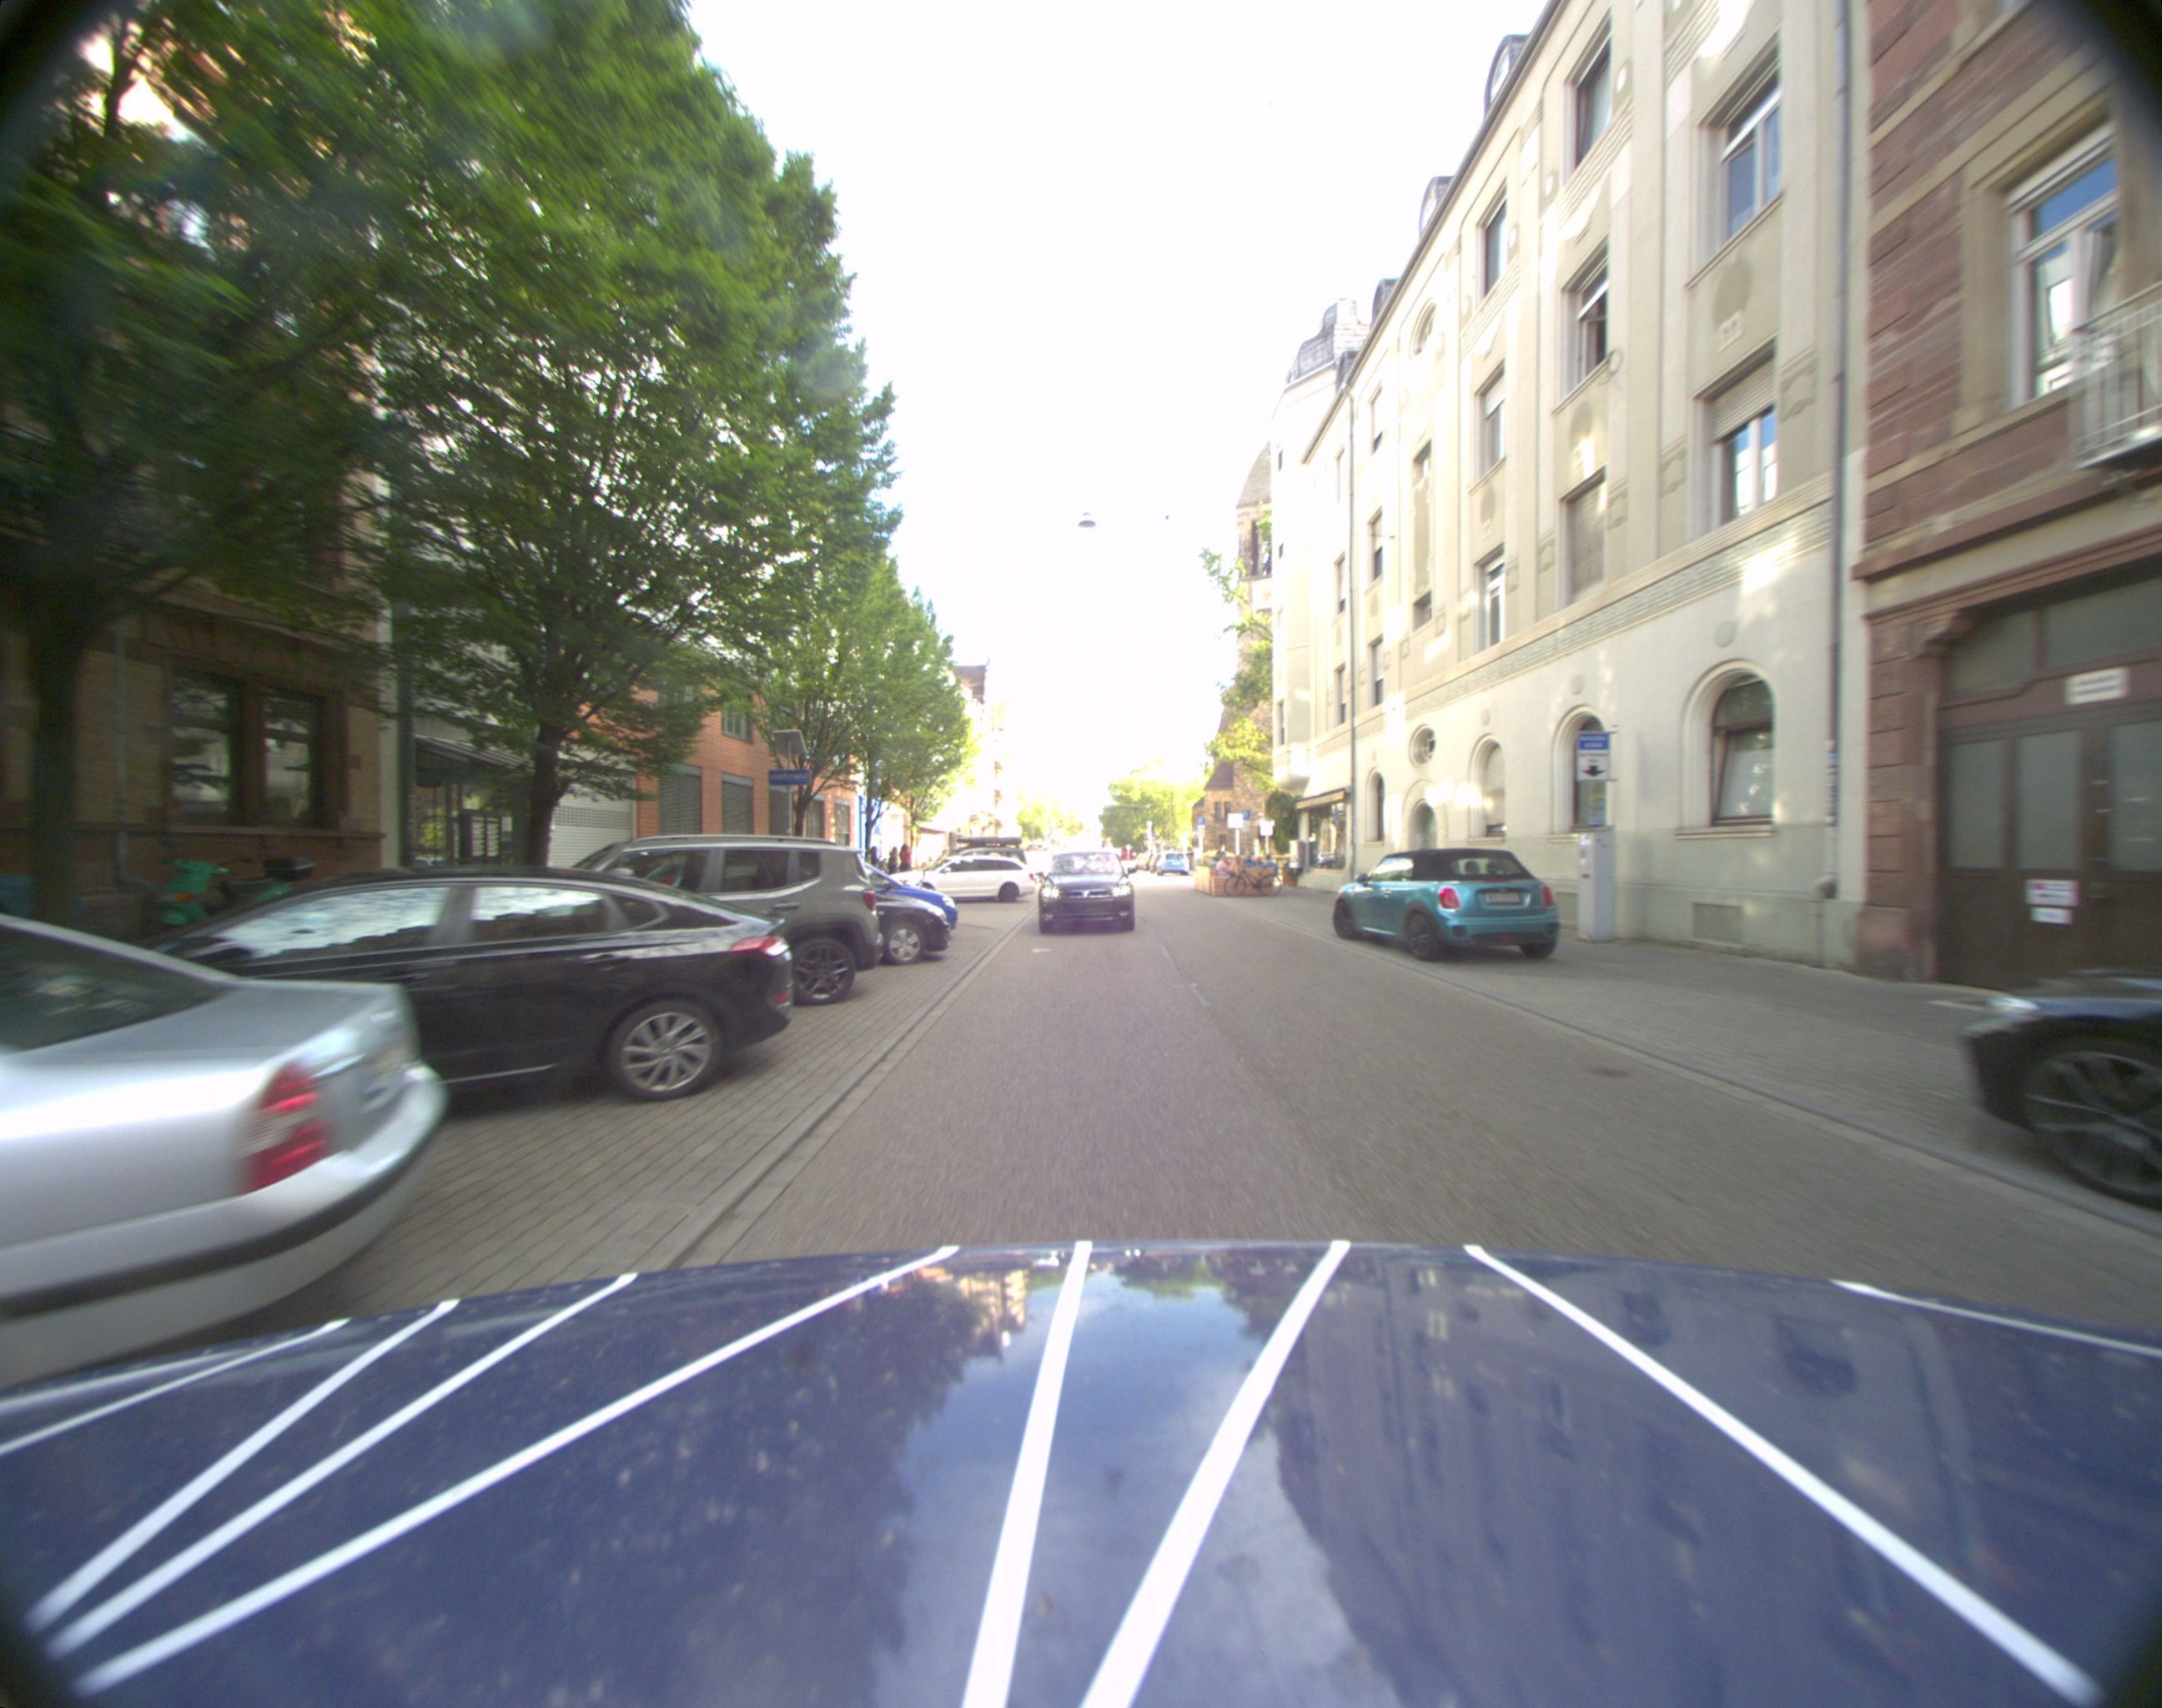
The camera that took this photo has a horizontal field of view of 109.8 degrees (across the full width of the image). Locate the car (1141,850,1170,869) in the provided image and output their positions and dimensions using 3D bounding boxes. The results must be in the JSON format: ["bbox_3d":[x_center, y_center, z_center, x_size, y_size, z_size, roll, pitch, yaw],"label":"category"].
[{"bbox_3d":[5.849,0.386,59.830,1.911,1.412,4.000,-2,1,1],"label":"car"}]

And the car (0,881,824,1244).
[{"bbox_3d":[-3.956,0.928,4.665,4.145,1.409,1.864,0,0,-35],"label":"car"}]

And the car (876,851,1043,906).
[{"bbox_3d":[-3.775,0.750,23.879,4.816,1.535,1.866,1,1,-31],"label":"car"}]

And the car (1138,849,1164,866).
[{"bbox_3d":[6.135,0.252,66.817,1.911,1.412,4.000,-2,1,1],"label":"car"}]

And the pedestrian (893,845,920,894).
[{"bbox_3d":[-6.395,0.553,27.944,0.754,1.729,0.952,3,1,-4],"label":"pedestrian"}]

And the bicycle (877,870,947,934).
[{"bbox_3d":[-3.544,0.969,15.863,0.703,1.205,1.744,-2,2,-39],"label":"bicycle"}]

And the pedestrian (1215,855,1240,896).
[{"bbox_3d":[4.921,0.716,25.582,0.738,1.341,0.644,-2,1,3],"label":"pedestrian"}]

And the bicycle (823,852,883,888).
[{"bbox_3d":[-8.150,0.565,27.183,1.896,1.198,0.618,3,1,-2],"label":"bicycle"}]

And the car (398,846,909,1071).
[{"bbox_3d":[-3.977,0.793,7.593,4.007,1.689,1.848,0,0,-34],"label":"car"}]

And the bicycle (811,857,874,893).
[{"bbox_3d":[-8.113,0.705,25.910,1.896,1.113,0.618,3,1,-2],"label":"bicycle"}]

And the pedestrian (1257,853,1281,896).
[{"bbox_3d":[6.146,0.664,24.880,0.637,1.364,0.684,-2,1,4],"label":"pedestrian"}]

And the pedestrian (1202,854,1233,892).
[{"bbox_3d":[5.063,0.691,28.182,1.088,1.365,0.895,-2,1,9],"label":"pedestrian"}]

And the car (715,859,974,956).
[{"bbox_3d":[-4.048,0.854,13.041,4.006,1.430,1.721,1,0,-26],"label":"car"}]

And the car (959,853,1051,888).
[{"bbox_3d":[-3.724,0.774,37.457,4.006,1.499,1.995,-2,1,-31],"label":"car"}]

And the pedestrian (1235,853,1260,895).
[{"bbox_3d":[5.461,0.648,24.994,0.689,1.365,0.739,-2,1,4],"label":"pedestrian"}]

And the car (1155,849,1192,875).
[{"bbox_3d":[5.755,0.474,47.508,1.828,1.477,4.170,-2,1,1],"label":"car"}]

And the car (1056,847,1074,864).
[{"bbox_3d":[-1.915,0.209,91.300,1.810,1.914,4.000,-3,0,2],"label":"car"}]

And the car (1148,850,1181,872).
[{"bbox_3d":[5.844,0.446,53.674,1.911,1.412,4.000,-2,1,1],"label":"car"}]

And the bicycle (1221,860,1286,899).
[{"bbox_3d":[5.412,0.794,23.902,1.872,1.168,0.688,-2,1,3],"label":"bicycle"}]

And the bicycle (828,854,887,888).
[{"bbox_3d":[-8.168,0.614,27.815,1.896,1.106,0.618,3,1,-2],"label":"bicycle"}]

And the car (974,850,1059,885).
[{"bbox_3d":[-3.412,0.701,40.280,4.006,1.663,1.923,-2,1,-31],"label":"car"}]

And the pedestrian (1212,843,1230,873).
[{"bbox_3d":[8.083,0.212,43.964,0.845,1.699,0.879,-2,1,1],"label":"pedestrian"}]

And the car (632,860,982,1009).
[{"bbox_3d":[-3.649,0.915,10.420,4.133,1.512,1.840,-2,2,-36],"label":"car"}]

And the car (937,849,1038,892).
[{"bbox_3d":[-4.198,0.694,34.188,4.006,1.751,1.908,-2,1,-31],"label":"car"}]

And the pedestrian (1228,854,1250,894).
[{"bbox_3d":[5.474,0.683,26.370,0.668,1.328,0.740,-2,1,8],"label":"pedestrian"}]

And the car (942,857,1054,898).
[{"bbox_3d":[-3.208,0.860,29.575,4.006,1.391,1.657,-2,1,-31],"label":"car"}]

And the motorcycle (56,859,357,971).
[{"bbox_3d":[-10.877,0.682,9.669,0.896,1.180,2.491,-2,1,0],"label":"motorcycle"}]

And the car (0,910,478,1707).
[{"bbox_3d":[-4.130,0.927,1.317,4.620,1.443,1.788,1,0,-31],"label":"car"}]

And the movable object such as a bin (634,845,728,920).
[{"bbox_3d":[-8.491,0.586,16.192,1.375,1.438,1.037,5,1,-2],"label":"movable object such as a bin"}]

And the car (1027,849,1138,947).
[{"bbox_3d":[0.192,0.760,15.426,1.874,1.644,4.388,-2,1,5],"label":"car"}]

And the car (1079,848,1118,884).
[{"bbox_3d":[0.905,0.561,38.343,1.810,1.622,4.000,-3,0,2],"label":"car"}]

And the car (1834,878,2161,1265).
[{"bbox_3d":[4.895,0.840,1.467,1.816,1.343,5.114,-1,0,0],"label":"car"}]

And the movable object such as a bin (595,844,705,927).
[{"bbox_3d":[-8.503,0.597,15.068,1.375,1.451,1.164,6,1,-2],"label":"movable object such as a bin"}]

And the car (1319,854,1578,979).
[{"bbox_3d":[5.016,0.742,11.067,1.674,1.407,4.011,-2,1,-3],"label":"car"}]

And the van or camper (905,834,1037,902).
[{"bbox_3d":[-3.815,0.436,26.418,4.006,2.166,1.995,-2,1,-29],"label":"van or camper"}]

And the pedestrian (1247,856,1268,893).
[{"bbox_3d":[6.089,0.714,26.216,0.597,1.236,0.694,-2,1,8],"label":"pedestrian"}]
